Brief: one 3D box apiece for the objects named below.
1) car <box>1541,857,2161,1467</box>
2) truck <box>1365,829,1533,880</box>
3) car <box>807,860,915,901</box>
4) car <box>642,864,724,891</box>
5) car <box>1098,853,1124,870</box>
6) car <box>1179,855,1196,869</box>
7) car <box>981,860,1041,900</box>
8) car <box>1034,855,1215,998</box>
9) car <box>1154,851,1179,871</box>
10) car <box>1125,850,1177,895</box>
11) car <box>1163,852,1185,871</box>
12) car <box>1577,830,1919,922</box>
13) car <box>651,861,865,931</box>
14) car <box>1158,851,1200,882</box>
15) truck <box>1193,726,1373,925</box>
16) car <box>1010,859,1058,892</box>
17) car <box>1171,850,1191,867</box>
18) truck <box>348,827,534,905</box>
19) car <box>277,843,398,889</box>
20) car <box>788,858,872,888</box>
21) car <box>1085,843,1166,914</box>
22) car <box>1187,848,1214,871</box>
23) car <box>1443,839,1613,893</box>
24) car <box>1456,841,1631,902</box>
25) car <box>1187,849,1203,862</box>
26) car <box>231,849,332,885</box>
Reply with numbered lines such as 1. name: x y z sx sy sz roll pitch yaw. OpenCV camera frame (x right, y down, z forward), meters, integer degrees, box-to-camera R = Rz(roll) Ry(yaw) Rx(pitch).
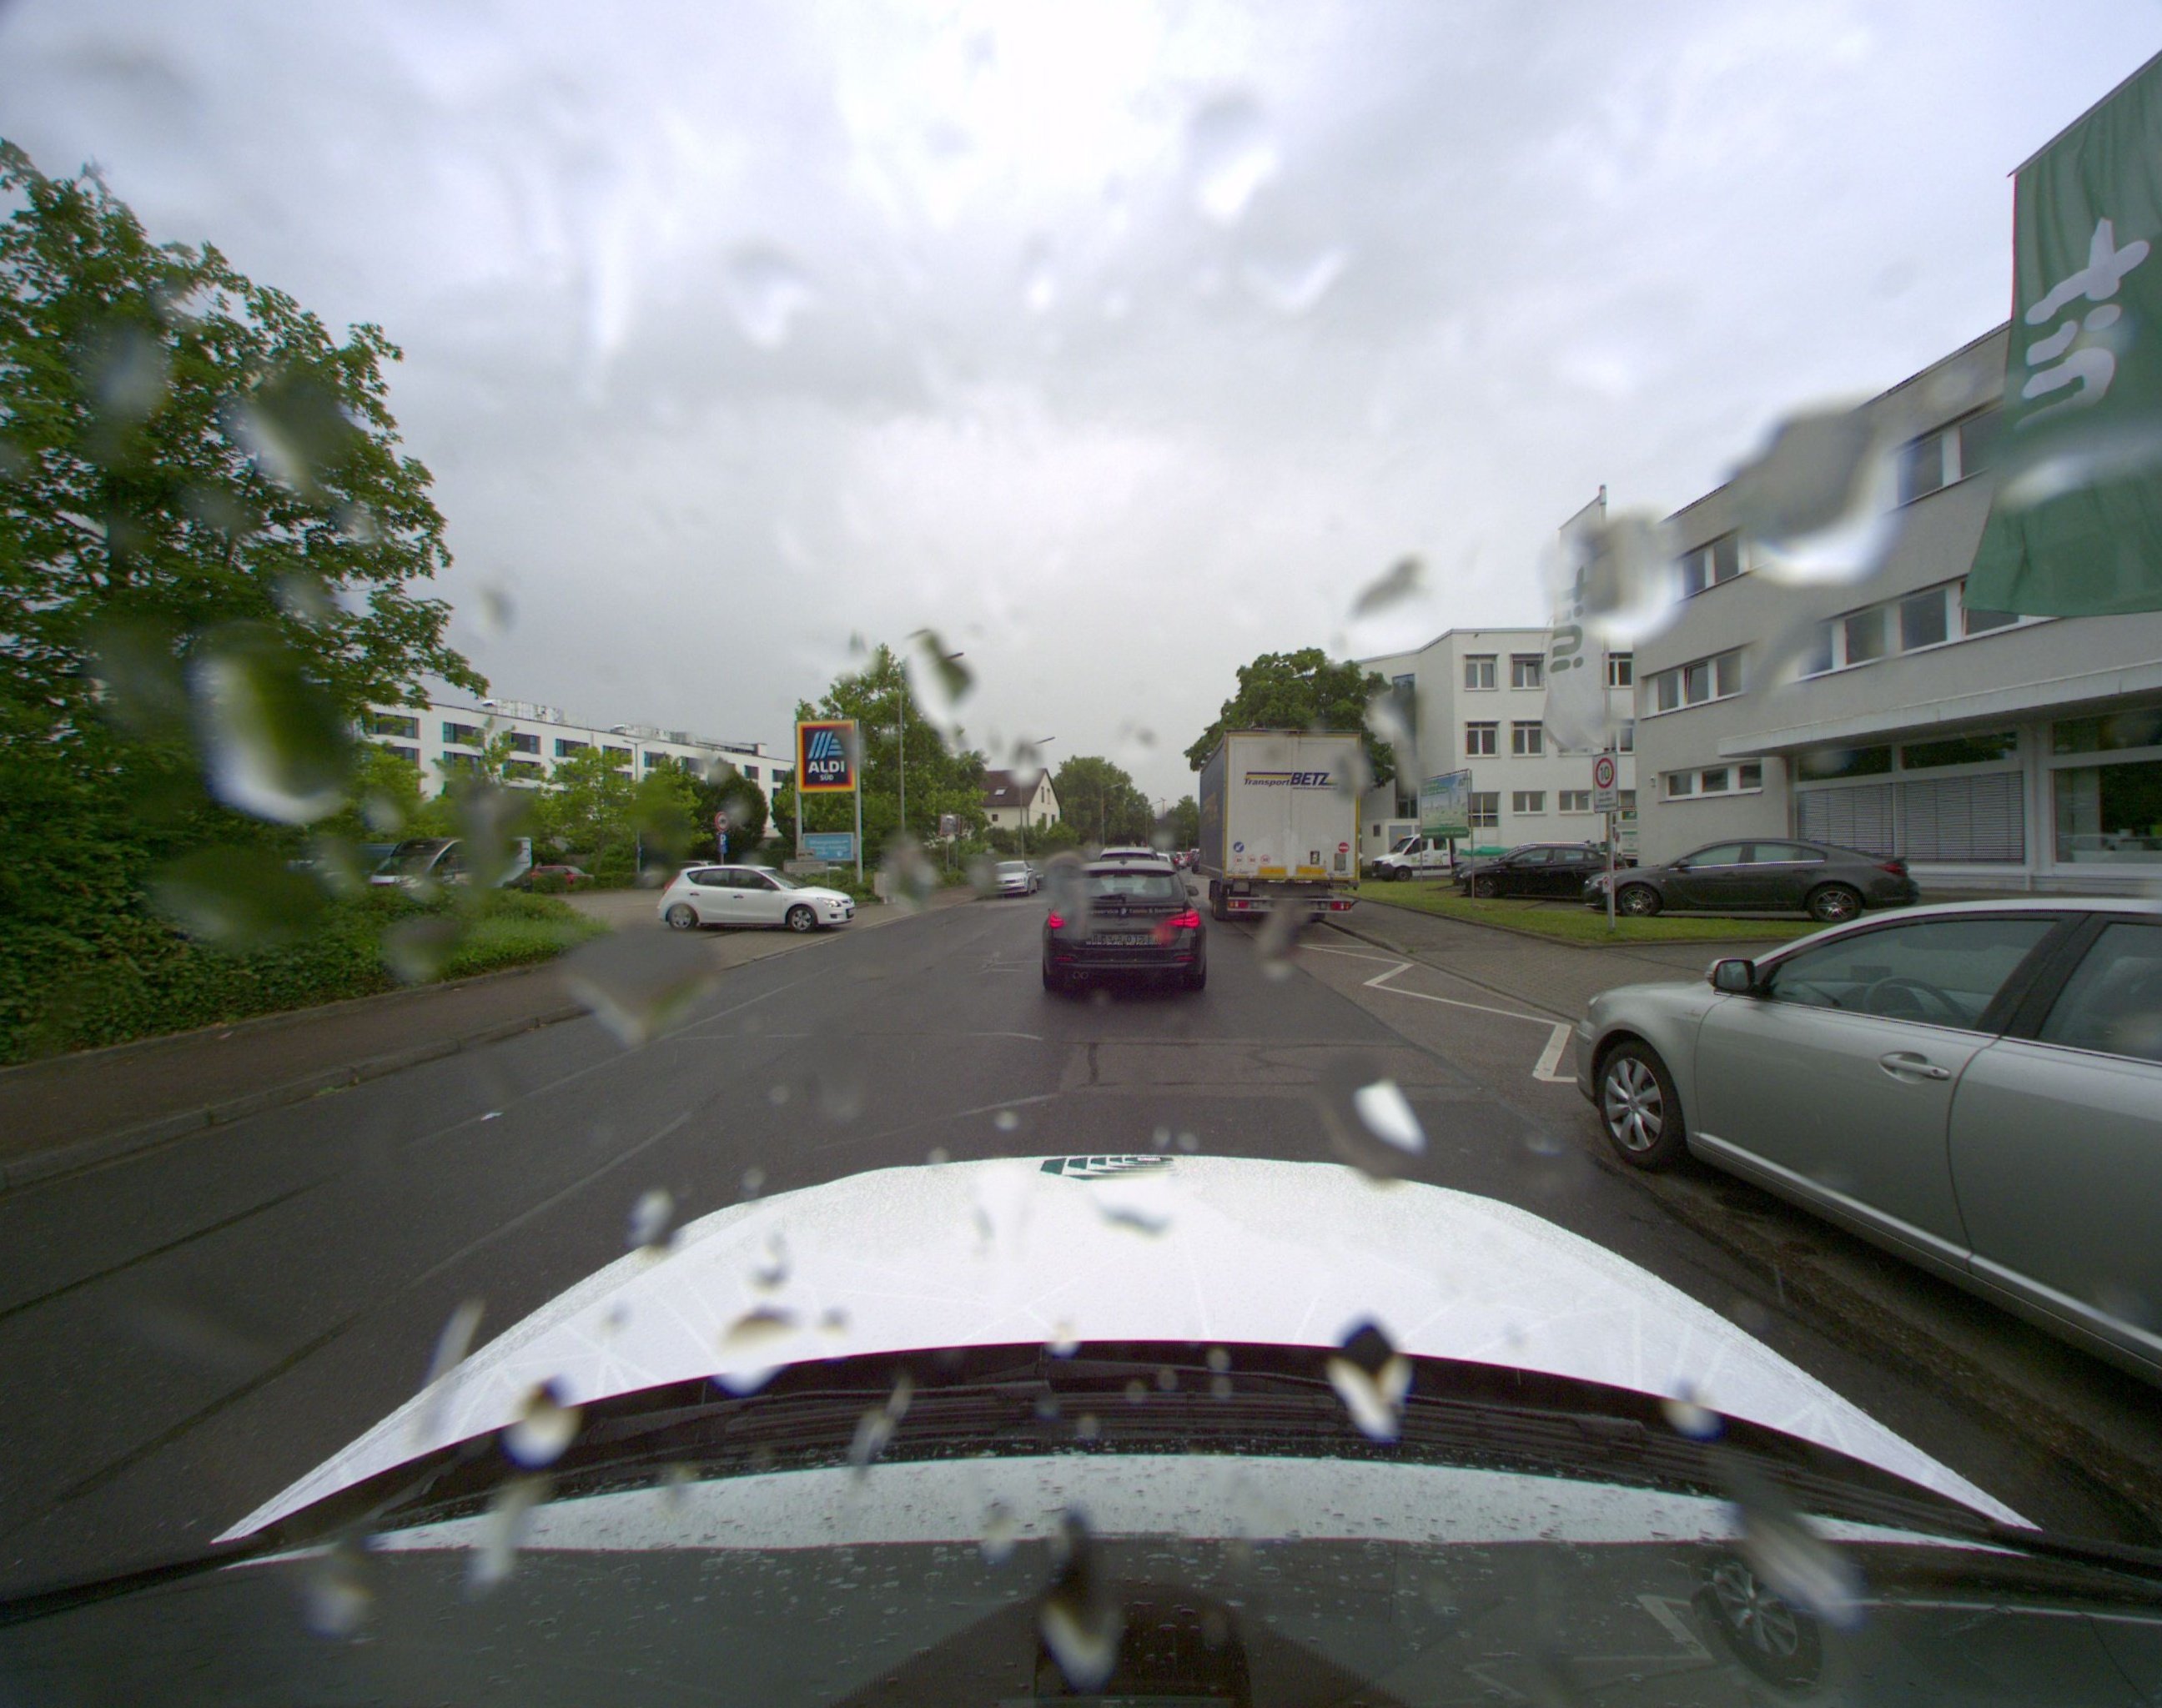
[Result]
1. car: 3.541 0.761 2.545 1.791 1.441 4.345 -1 0 1
2. truck: 17.108 0.023 38.156 6.896 2.140 2.096 -1 0 2
3. car: -8.311 0.986 30.928 3.555 1.460 1.713 0 0 2
4. car: -24.206 1.435 49.614 3.970 1.499 2.002 -1 0 3
5. car: 2.804 0.712 76.206 1.694 1.367 3.851 -4 0 12
6. car: 11.952 0.897 91.259 1.793 1.586 4.010 -1 0 9
7. car: -2.770 1.000 33.237 1.698 1.367 4.605 -4 0 3
8. car: 0.418 0.733 10.108 1.799 1.395 3.998 0 0 -1
9. car: 6.929 0.580 65.928 1.793 1.586 4.010 -1 0 9
10. car: 2.728 0.681 30.913 1.795 1.586 4.008 -1 0 7
11. car: 8.280 0.639 72.265 1.793 1.586 4.010 -1 0 9
12. car: 11.991 0.379 15.027 4.616 1.468 1.803 -1 0 39
13. car: -7.257 0.921 18.626 4.179 1.460 1.711 -1 0 -2
14. car: 5.601 0.728 47.034 1.987 1.684 4.000 0 -1 0
15. truck: 4.250 -0.532 18.883 2.729 3.611 7.758 1 0 4
16. car: -2.186 0.990 39.090 1.698 1.367 3.843 -4 0 5
17. car: 10.033 0.460 81.618 1.793 1.586 4.010 -1 0 9
18. truck: -24.297 0.425 31.380 1.987 2.657 6.397 -1 0 1
19. car: -40.244 0.616 44.261 1.986 2.297 4.816 -1 0 2
20. car: -13.706 1.036 44.656 3.971 1.540 1.911 -1 0 2
21. car: 1.021 0.567 20.549 1.799 1.586 3.998 0 0 -1
22. car: 8.645 0.419 59.047 1.795 1.586 4.008 -1 0 7
23. car: 13.100 0.297 24.003 4.098 1.415 1.701 1 3 42
24. car: 12.205 0.394 21.603 3.733 1.396 1.738 2 2 41
25. car: 14.022 0.180 99.911 1.794 1.586 4.010 -1 0 9
26. car: -47.769 0.772 48.776 1.986 2.014 4.002 0 -1 2
